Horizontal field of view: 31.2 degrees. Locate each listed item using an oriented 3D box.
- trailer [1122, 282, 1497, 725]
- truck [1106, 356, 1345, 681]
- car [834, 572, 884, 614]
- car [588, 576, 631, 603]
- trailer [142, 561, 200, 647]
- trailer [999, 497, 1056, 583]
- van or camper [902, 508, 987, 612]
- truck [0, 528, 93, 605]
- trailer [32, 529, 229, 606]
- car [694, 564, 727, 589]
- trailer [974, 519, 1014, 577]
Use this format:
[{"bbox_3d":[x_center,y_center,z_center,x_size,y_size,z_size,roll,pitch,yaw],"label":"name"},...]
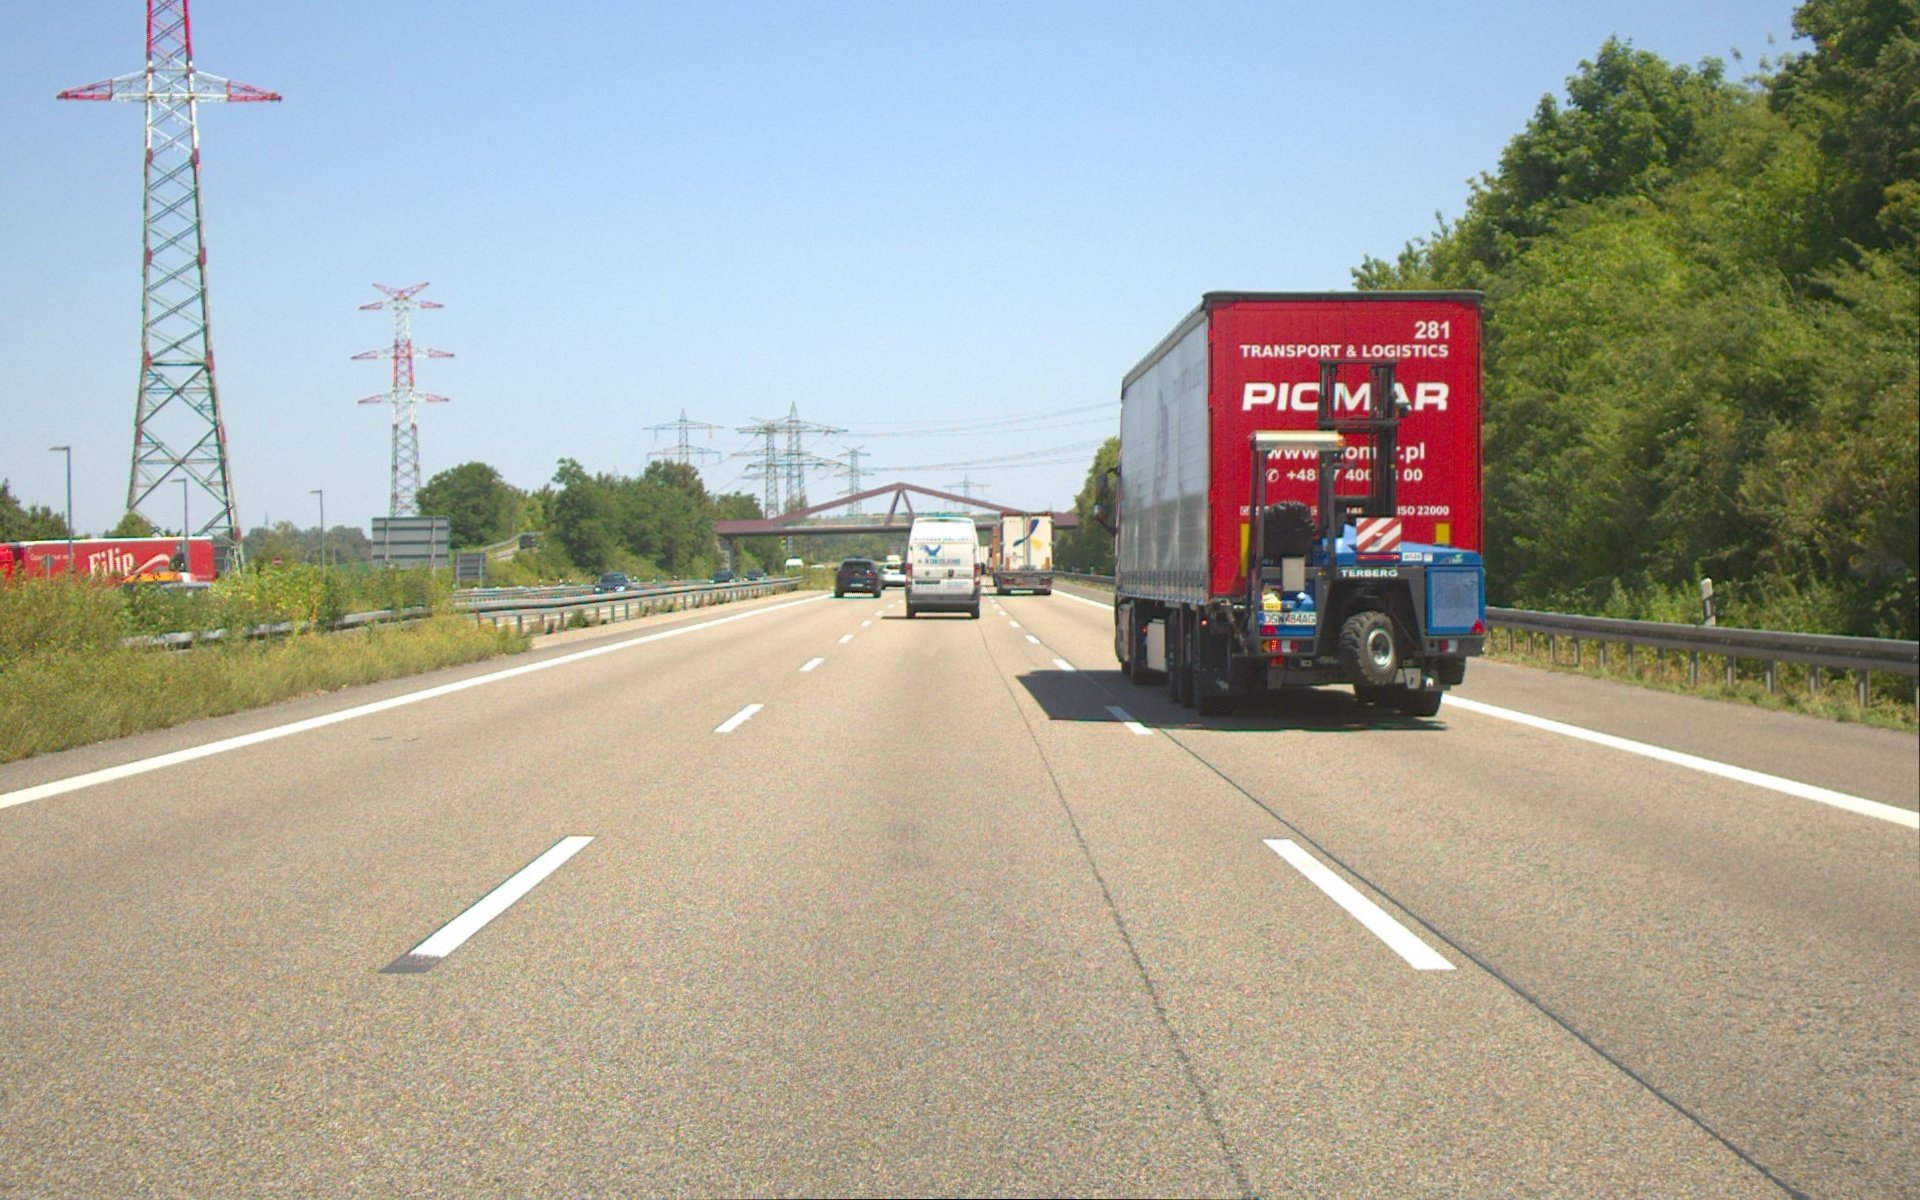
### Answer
[{"bbox_3d":[3.417,-0.924,37.427,2.490,3.896,14.246,0,1,-1],"label":"trailer"},{"bbox_3d":[3.341,-1.015,44.853,2.499,3.906,7.097,0,1,-1],"label":"truck"},{"bbox_3d":[-4.525,-0.325,153.962,1.982,1.811,3.812,1,1,2],"label":"car"},{"bbox_3d":[-18.332,-0.562,179.821,1.742,1.272,4.318,-3,1,0],"label":"car"},{"bbox_3d":[-22.095,0.100,96.327,1.167,2.361,1.998,-1,1,0],"label":"trailer"},{"bbox_3d":[3.316,-2.940,171.315,2.637,4.046,12.366,1,1,1],"label":"trailer"},{"bbox_3d":[-0.421,-1.114,95.508,2.230,2.772,5.423,1,1,0],"label":"van or camper"},{"bbox_3d":[-49.563,-1.770,181.993,3.124,4.035,6.632,1,1,34],"label":"truck"},{"bbox_3d":[-45.357,-1.754,188.526,3.127,4.041,11.291,1,1,34],"label":"trailer"},{"bbox_3d":[-17.614,-1.668,242.638,1.972,1.641,5.017,1,1,-1],"label":"car"},{"bbox_3d":[2.364,-3.542,236.112,2.637,3.884,7.068,1,1,1],"label":"trailer"}]
